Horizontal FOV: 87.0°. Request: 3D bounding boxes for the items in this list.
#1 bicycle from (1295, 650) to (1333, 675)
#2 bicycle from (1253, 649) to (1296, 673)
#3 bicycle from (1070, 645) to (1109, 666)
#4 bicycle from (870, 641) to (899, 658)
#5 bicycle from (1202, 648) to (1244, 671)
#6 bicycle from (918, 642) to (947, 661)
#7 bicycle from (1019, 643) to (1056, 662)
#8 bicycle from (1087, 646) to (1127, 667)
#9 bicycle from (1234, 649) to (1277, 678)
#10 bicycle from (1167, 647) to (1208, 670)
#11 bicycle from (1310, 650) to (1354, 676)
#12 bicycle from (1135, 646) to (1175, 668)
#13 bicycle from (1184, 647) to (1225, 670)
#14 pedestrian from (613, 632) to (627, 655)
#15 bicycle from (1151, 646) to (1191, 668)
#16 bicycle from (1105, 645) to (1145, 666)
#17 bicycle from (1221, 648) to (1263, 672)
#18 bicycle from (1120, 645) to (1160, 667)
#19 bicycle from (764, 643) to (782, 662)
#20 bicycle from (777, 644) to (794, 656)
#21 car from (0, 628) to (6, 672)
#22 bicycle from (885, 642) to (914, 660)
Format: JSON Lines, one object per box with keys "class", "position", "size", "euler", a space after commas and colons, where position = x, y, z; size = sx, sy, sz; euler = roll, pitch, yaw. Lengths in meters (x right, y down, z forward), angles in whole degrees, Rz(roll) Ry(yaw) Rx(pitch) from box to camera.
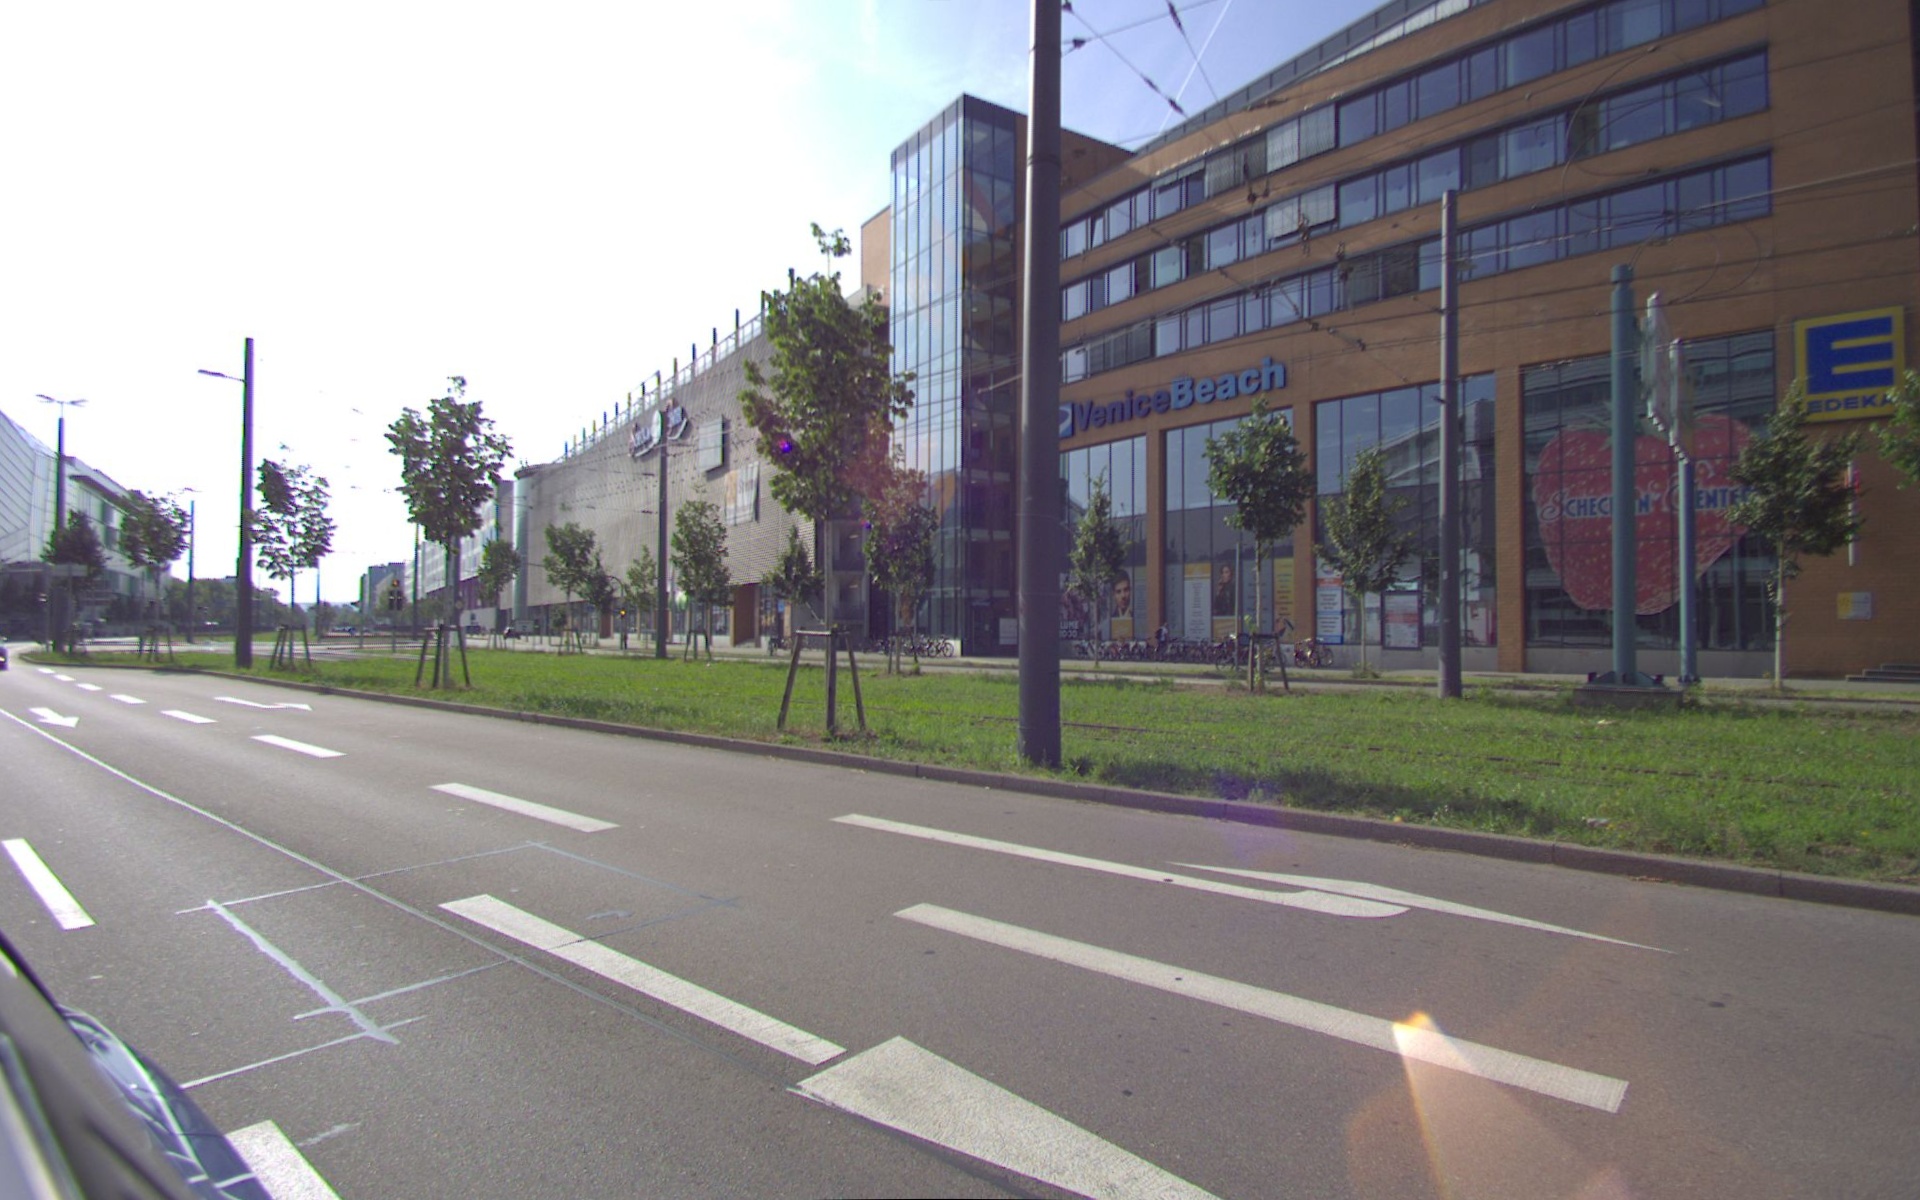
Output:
{"class": "bicycle", "position": [13.606, 2.383, 38.874], "size": [2.022, 0.928, 0.381], "euler": [1, -2, -39]}
{"class": "bicycle", "position": [12.473, 2.408, 40.071], "size": [2.022, 0.928, 0.574], "euler": [1, -2, -39]}
{"class": "bicycle", "position": [6.122, 2.601, 47.785], "size": [2.022, 0.928, 0.574], "euler": [1, -2, -39]}
{"class": "bicycle", "position": [-4.093, 2.693, 55.132], "size": [1.557, 0.947, 0.474], "euler": [1, -2, -34]}
{"class": "bicycle", "position": [10.953, 2.469, 42.155], "size": [2.022, 0.928, 0.574], "euler": [1, -2, -39]}
{"class": "bicycle", "position": [-1.428, 2.684, 52.737], "size": [1.557, 0.947, 0.412], "euler": [1, -2, -34]}
{"class": "bicycle", "position": [3.896, 2.634, 50.720], "size": [2.022, 0.928, 0.574], "euler": [1, -2, -39]}
{"class": "bicycle", "position": [6.823, 2.616, 46.940], "size": [2.022, 0.928, 0.574], "euler": [1, -2, -39]}
{"class": "bicycle", "position": [10.306, 2.198, 35.240], "size": [1.655, 0.914, 0.710], "euler": [1, -2, -44]}
{"class": "bicycle", "position": [9.798, 2.489, 43.474], "size": [2.022, 0.928, 0.574], "euler": [1, -2, -39]}
{"class": "bicycle", "position": [14.094, 2.385, 38.320], "size": [2.022, 0.928, 0.574], "euler": [1, -2, -39]}
{"class": "bicycle", "position": [8.654, 2.510, 44.844], "size": [2.022, 0.928, 0.574], "euler": [1, -2, -39]}
{"class": "bicycle", "position": [10.346, 2.474, 42.809], "size": [2.022, 0.928, 0.574], "euler": [1, -2, -39]}
{"class": "pedestrian", "position": [-24.161, 3.101, 71.940], "size": [0.751, 1.591, 0.591], "euler": [2, -3, -37]}
{"class": "bicycle", "position": [9.203, 2.485, 44.101], "size": [2.022, 0.928, 0.574], "euler": [1, -2, -39]}
{"class": "bicycle", "position": [7.514, 2.523, 46.126], "size": [2.022, 0.928, 0.574], "euler": [1, -2, -39]}
{"class": "bicycle", "position": [11.554, 2.463, 41.480], "size": [2.022, 0.928, 0.574], "euler": [1, -2, -39]}
{"class": "bicycle", "position": [8.102, 2.512, 45.479], "size": [2.022, 0.928, 0.574], "euler": [1, -2, -39]}
{"class": "bicycle", "position": [-10.498, 2.946, 56.795], "size": [0.438, 0.995, 2.171], "euler": [2, -1, -24]}
{"class": "bicycle", "position": [-11.162, 3.195, 64.652], "size": [0.989, 0.758, 0.453], "euler": [1, -2, -32]}
{"class": "car", "position": [-33.477, 1.666, 34.050], "size": [3.893, 1.430, 1.622], "euler": [-1, -2, 41]}
{"class": "bicycle", "position": [-3.189, 2.673, 53.258], "size": [1.557, 0.947, 0.412], "euler": [1, -2, -35]}
